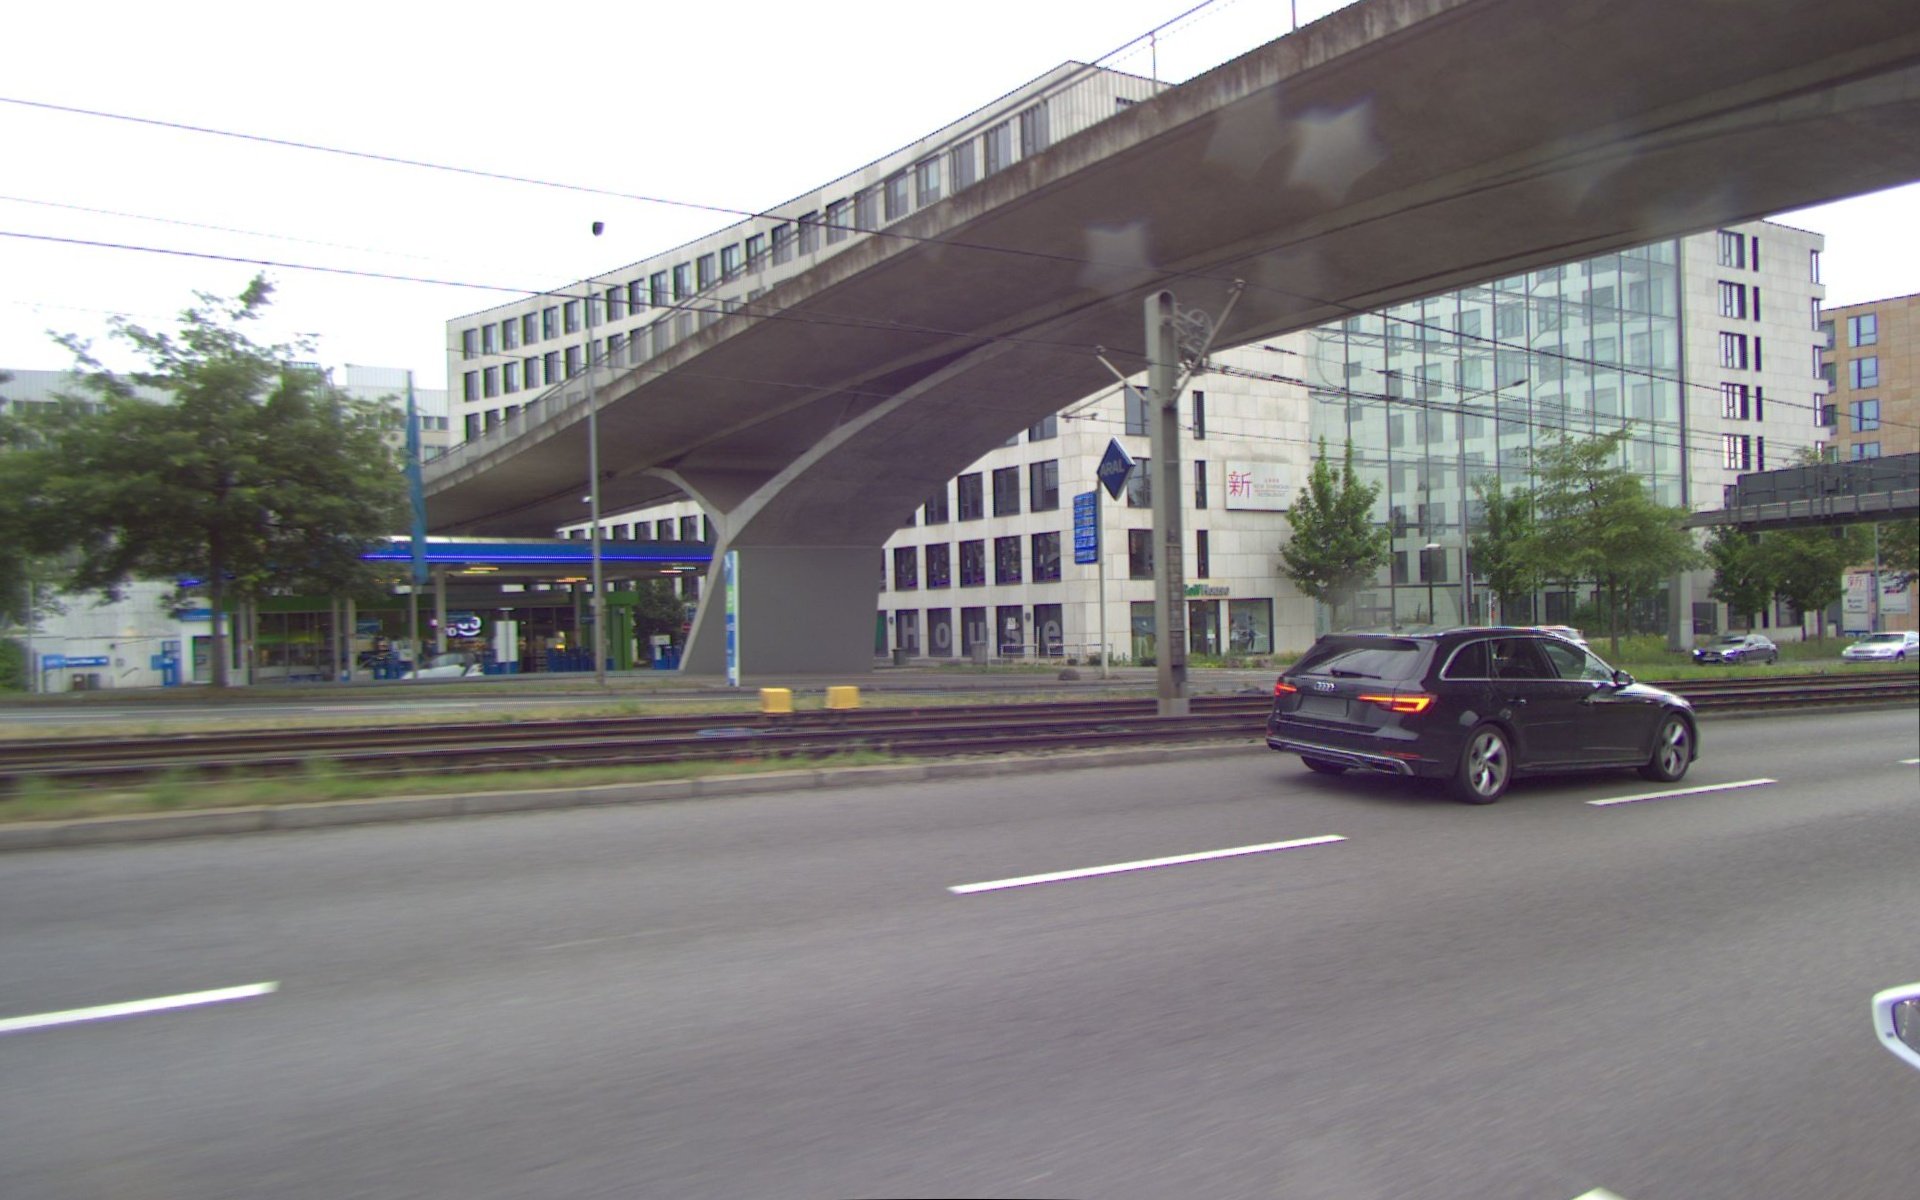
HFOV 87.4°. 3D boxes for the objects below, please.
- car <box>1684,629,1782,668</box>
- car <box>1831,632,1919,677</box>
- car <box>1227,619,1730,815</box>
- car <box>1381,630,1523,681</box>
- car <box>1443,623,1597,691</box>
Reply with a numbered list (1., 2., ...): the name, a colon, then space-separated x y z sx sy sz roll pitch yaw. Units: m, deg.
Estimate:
1. car: 35.485 2.194 46.084 4.430 1.619 1.759 0 0 -25
2. car: 37.237 2.161 40.272 4.727 1.619 1.759 0 0 -25
3. car: 4.936 0.947 9.410 4.744 1.432 1.779 2 -1 -27
4. car: 16.512 1.819 33.700 4.595 1.517 1.914 0 0 -27
5. car: 16.391 1.615 29.403 4.168 1.800 1.914 0 0 -26
